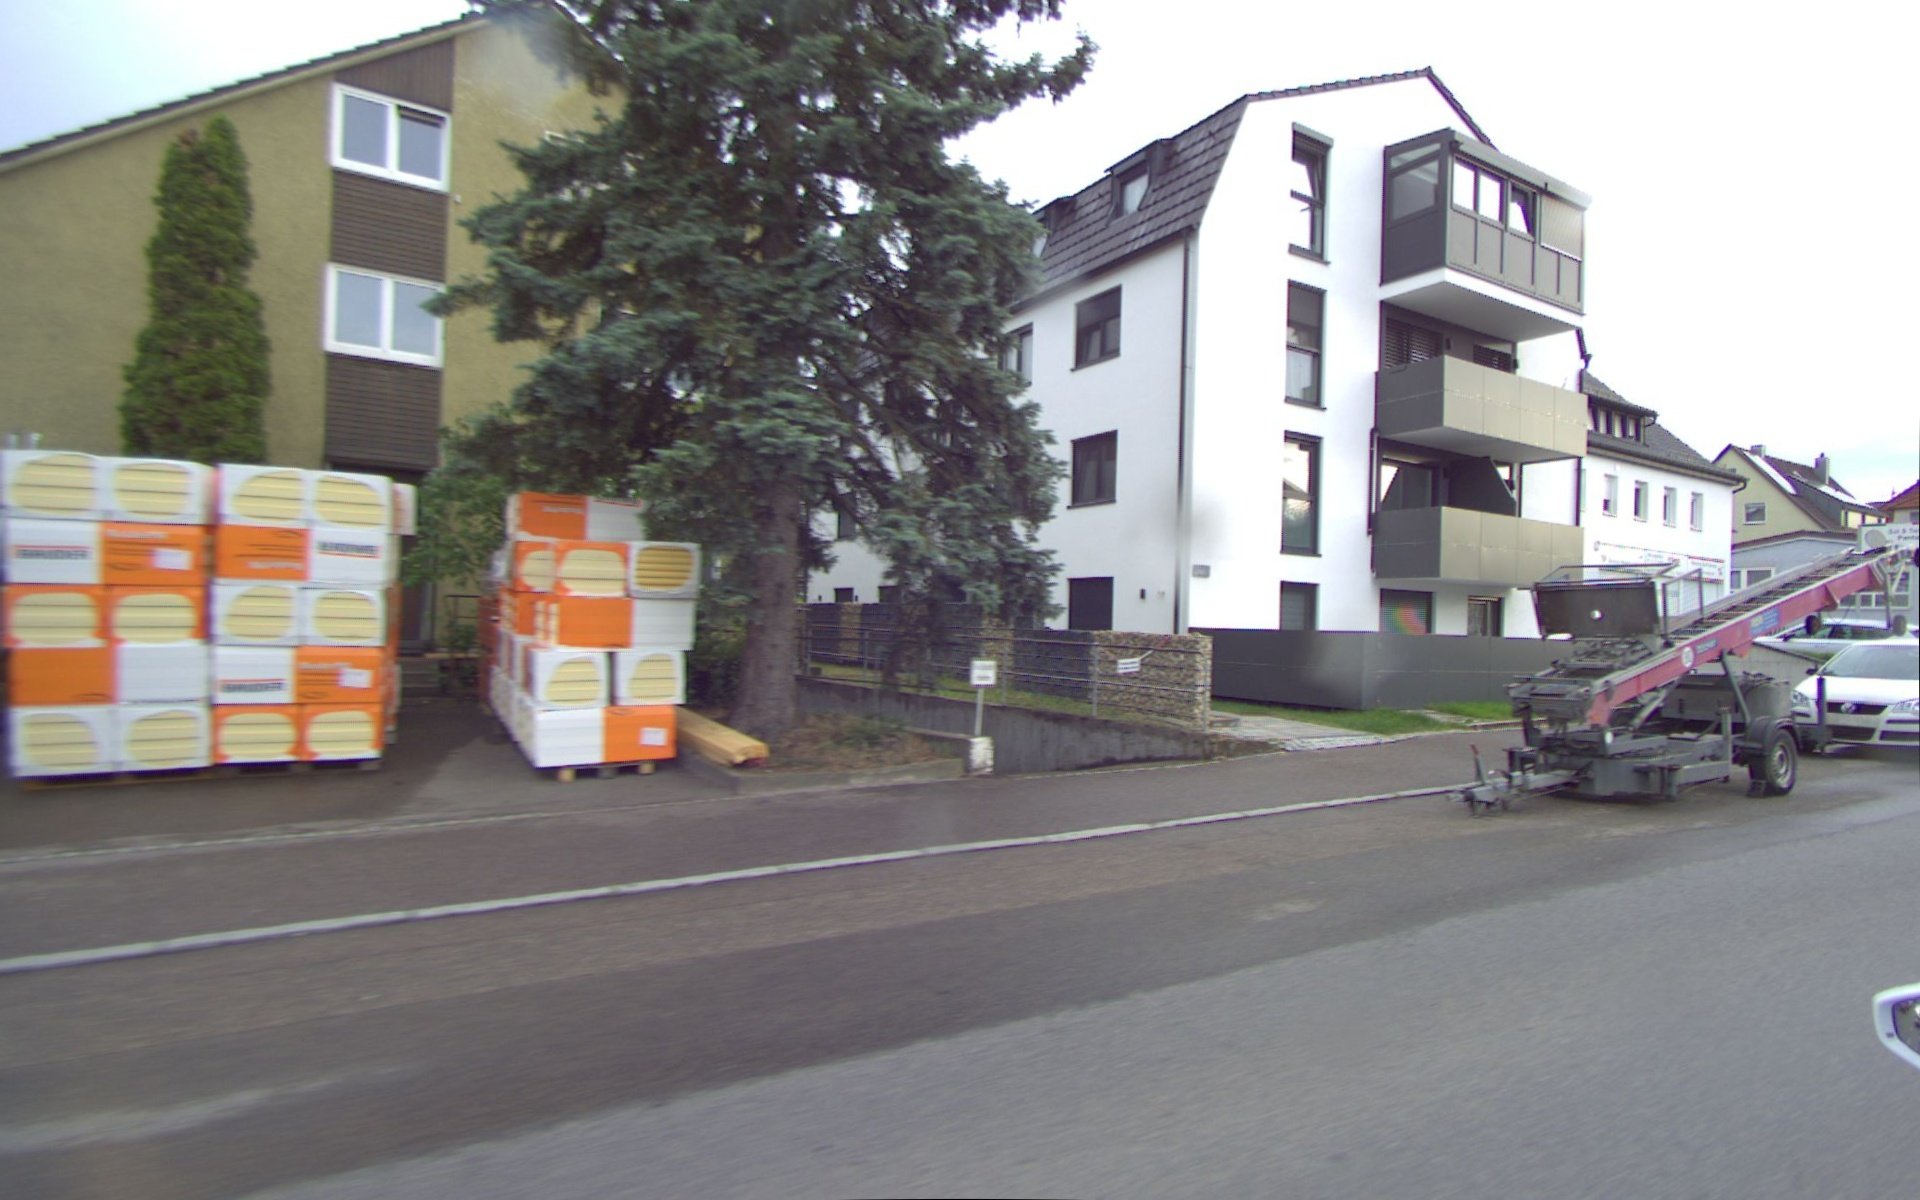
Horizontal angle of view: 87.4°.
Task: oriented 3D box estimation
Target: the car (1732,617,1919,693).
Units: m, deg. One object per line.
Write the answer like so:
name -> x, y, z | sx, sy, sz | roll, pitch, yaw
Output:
car -> 21.587, 1.303, 24.714 | 1.636, 1.589, 3.740 | 2, 0, -31

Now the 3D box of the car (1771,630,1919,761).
car -> 12.610, 1.199, 13.323 | 3.953, 1.452, 1.549 | 2, 0, -30

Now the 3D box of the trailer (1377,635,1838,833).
trailer -> 6.391, 1.088, 9.685 | 5.186, 1.277, 1.707 | 0, 2, -32

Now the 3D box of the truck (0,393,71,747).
truck -> -9.022, -0.258, 7.364 | 2.420, 3.114, 5.885 | 2, 1, -29
